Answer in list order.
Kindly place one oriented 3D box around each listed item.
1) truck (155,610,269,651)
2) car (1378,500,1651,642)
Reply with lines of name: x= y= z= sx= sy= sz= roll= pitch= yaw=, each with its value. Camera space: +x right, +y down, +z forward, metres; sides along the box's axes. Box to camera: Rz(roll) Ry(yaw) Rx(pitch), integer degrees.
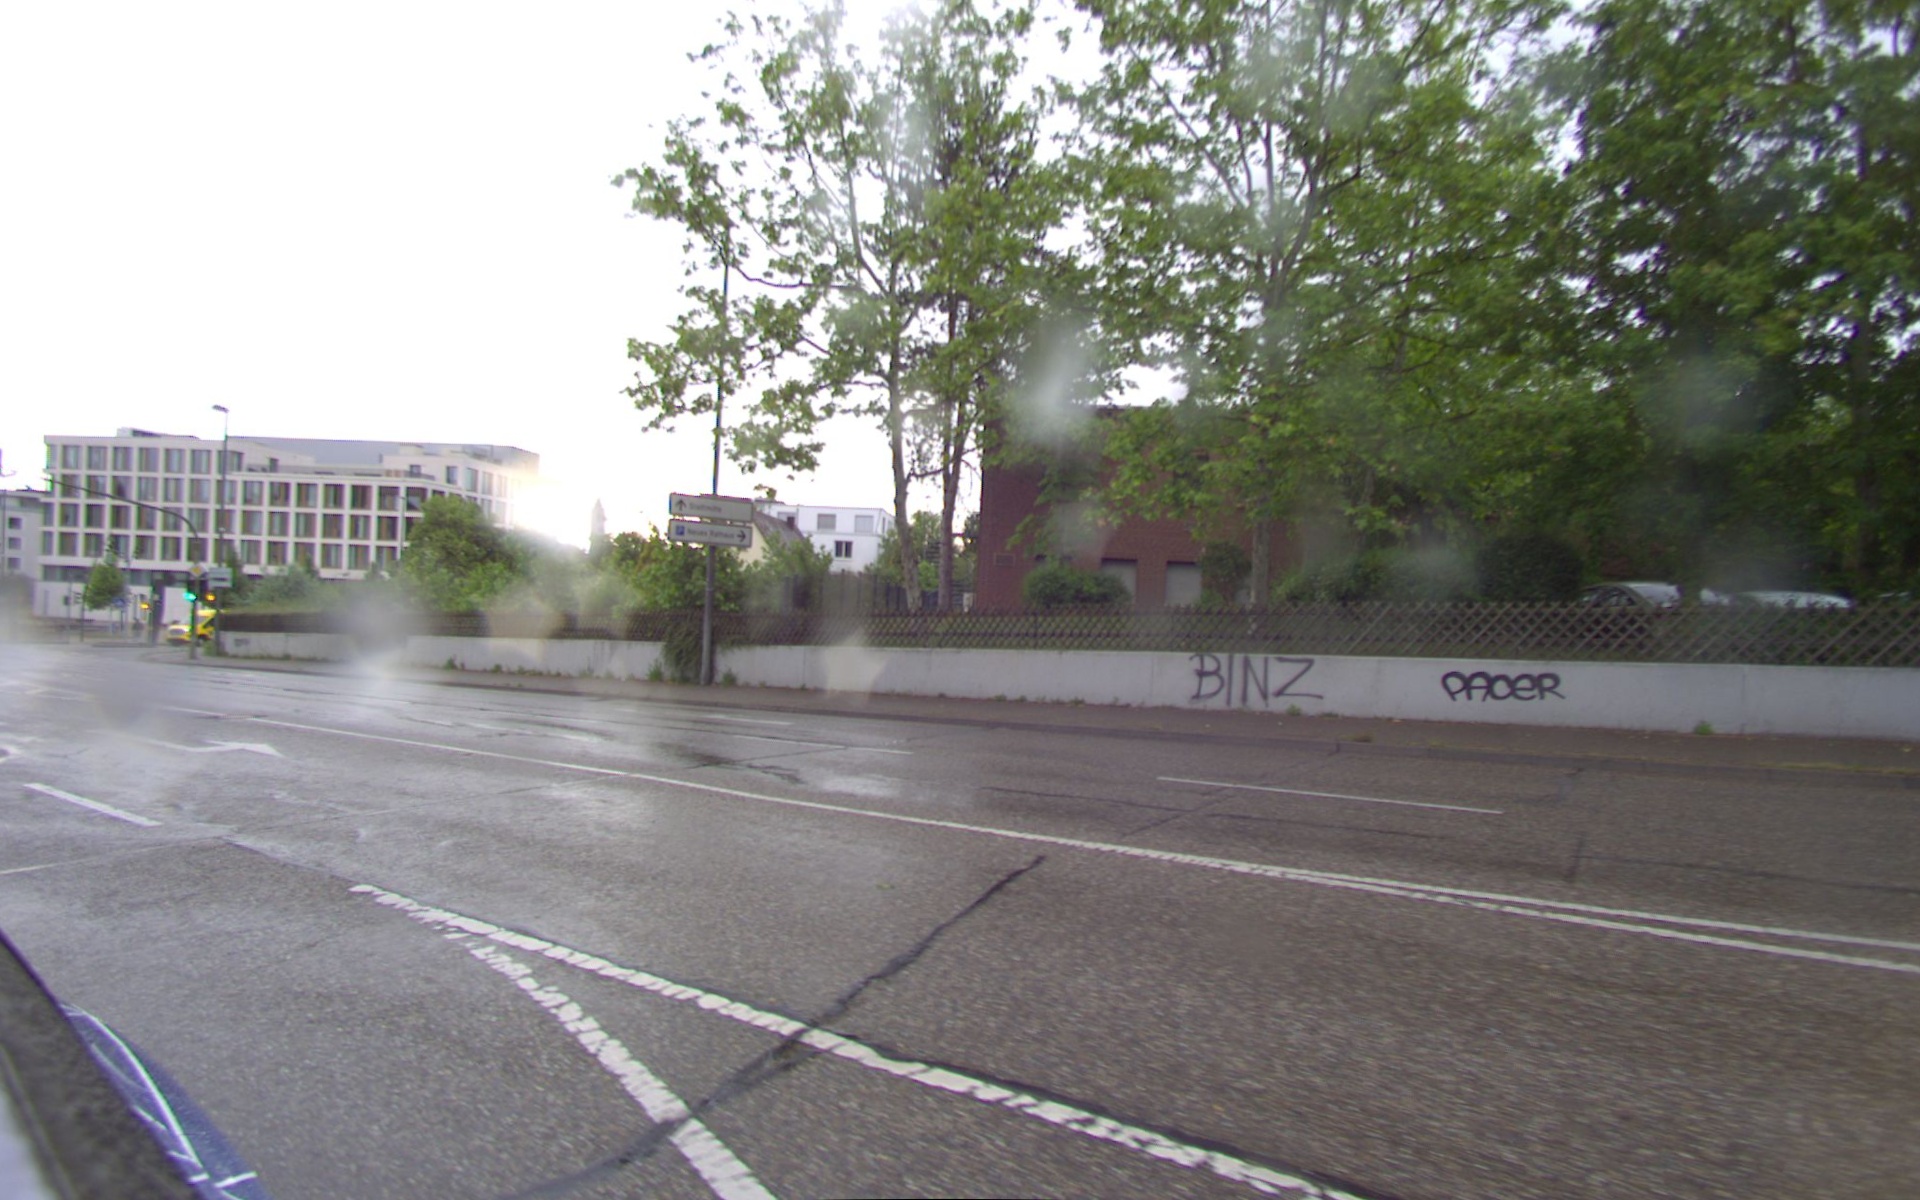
truck: x=-49.490 y=2.058 z=67.198 sx=2.205 sy=2.557 sz=6.154 roll=2 pitch=-2 yaw=11
car: x=8.776 y=-0.428 z=16.504 sx=1.969 sy=2.029 sz=4.005 roll=0 pitch=1 yaw=-5
